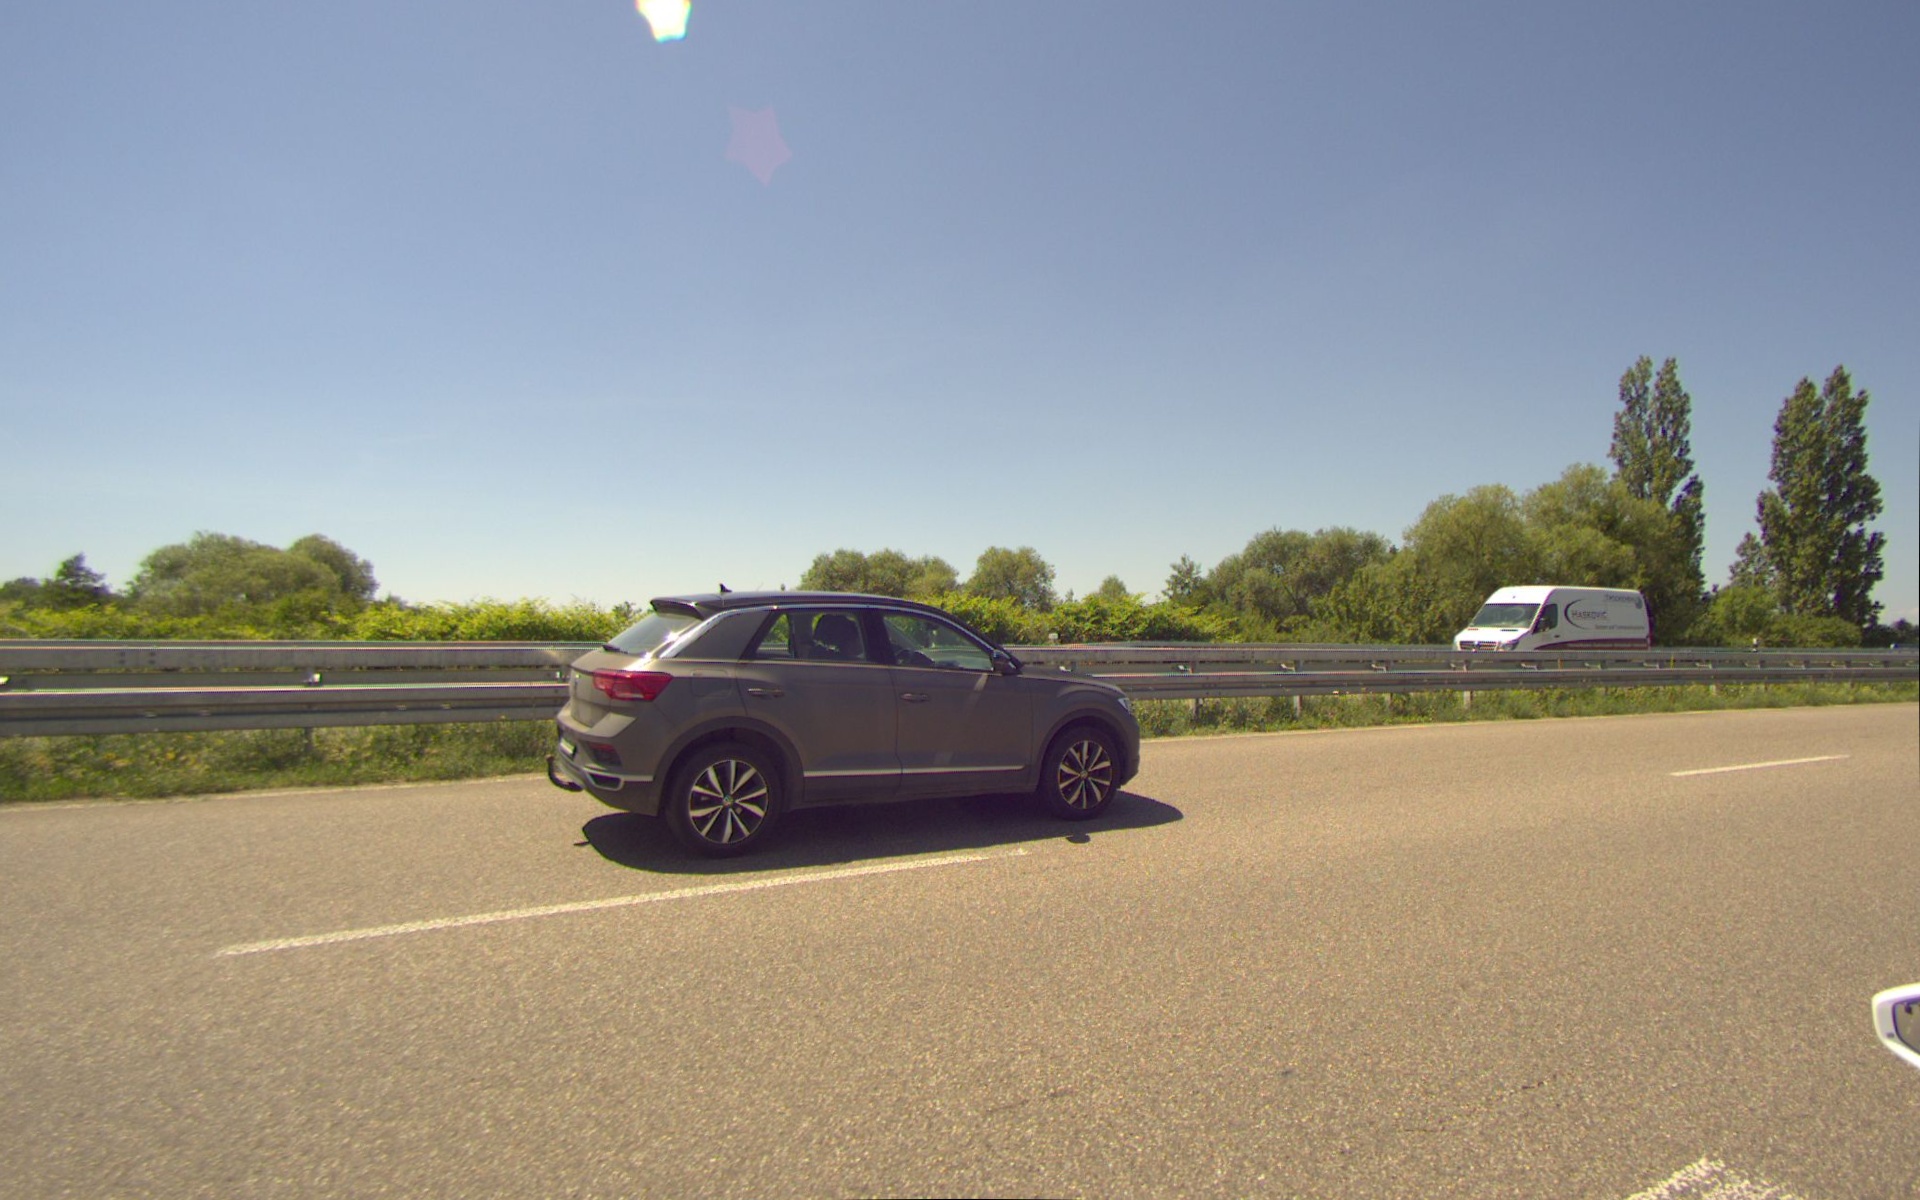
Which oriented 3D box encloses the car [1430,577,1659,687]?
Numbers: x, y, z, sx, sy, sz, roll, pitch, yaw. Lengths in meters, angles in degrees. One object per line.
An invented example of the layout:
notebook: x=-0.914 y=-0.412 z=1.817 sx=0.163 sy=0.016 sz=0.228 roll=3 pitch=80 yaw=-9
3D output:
car: x=16.819 y=0.984 z=28.764 sx=7.132 sy=2.810 sz=2.270 roll=3 pitch=-2 yaw=-28

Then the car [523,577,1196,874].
car: x=-0.612 y=0.705 z=7.164 sx=4.417 sy=1.550 sz=1.832 roll=2 pitch=0 yaw=-30
